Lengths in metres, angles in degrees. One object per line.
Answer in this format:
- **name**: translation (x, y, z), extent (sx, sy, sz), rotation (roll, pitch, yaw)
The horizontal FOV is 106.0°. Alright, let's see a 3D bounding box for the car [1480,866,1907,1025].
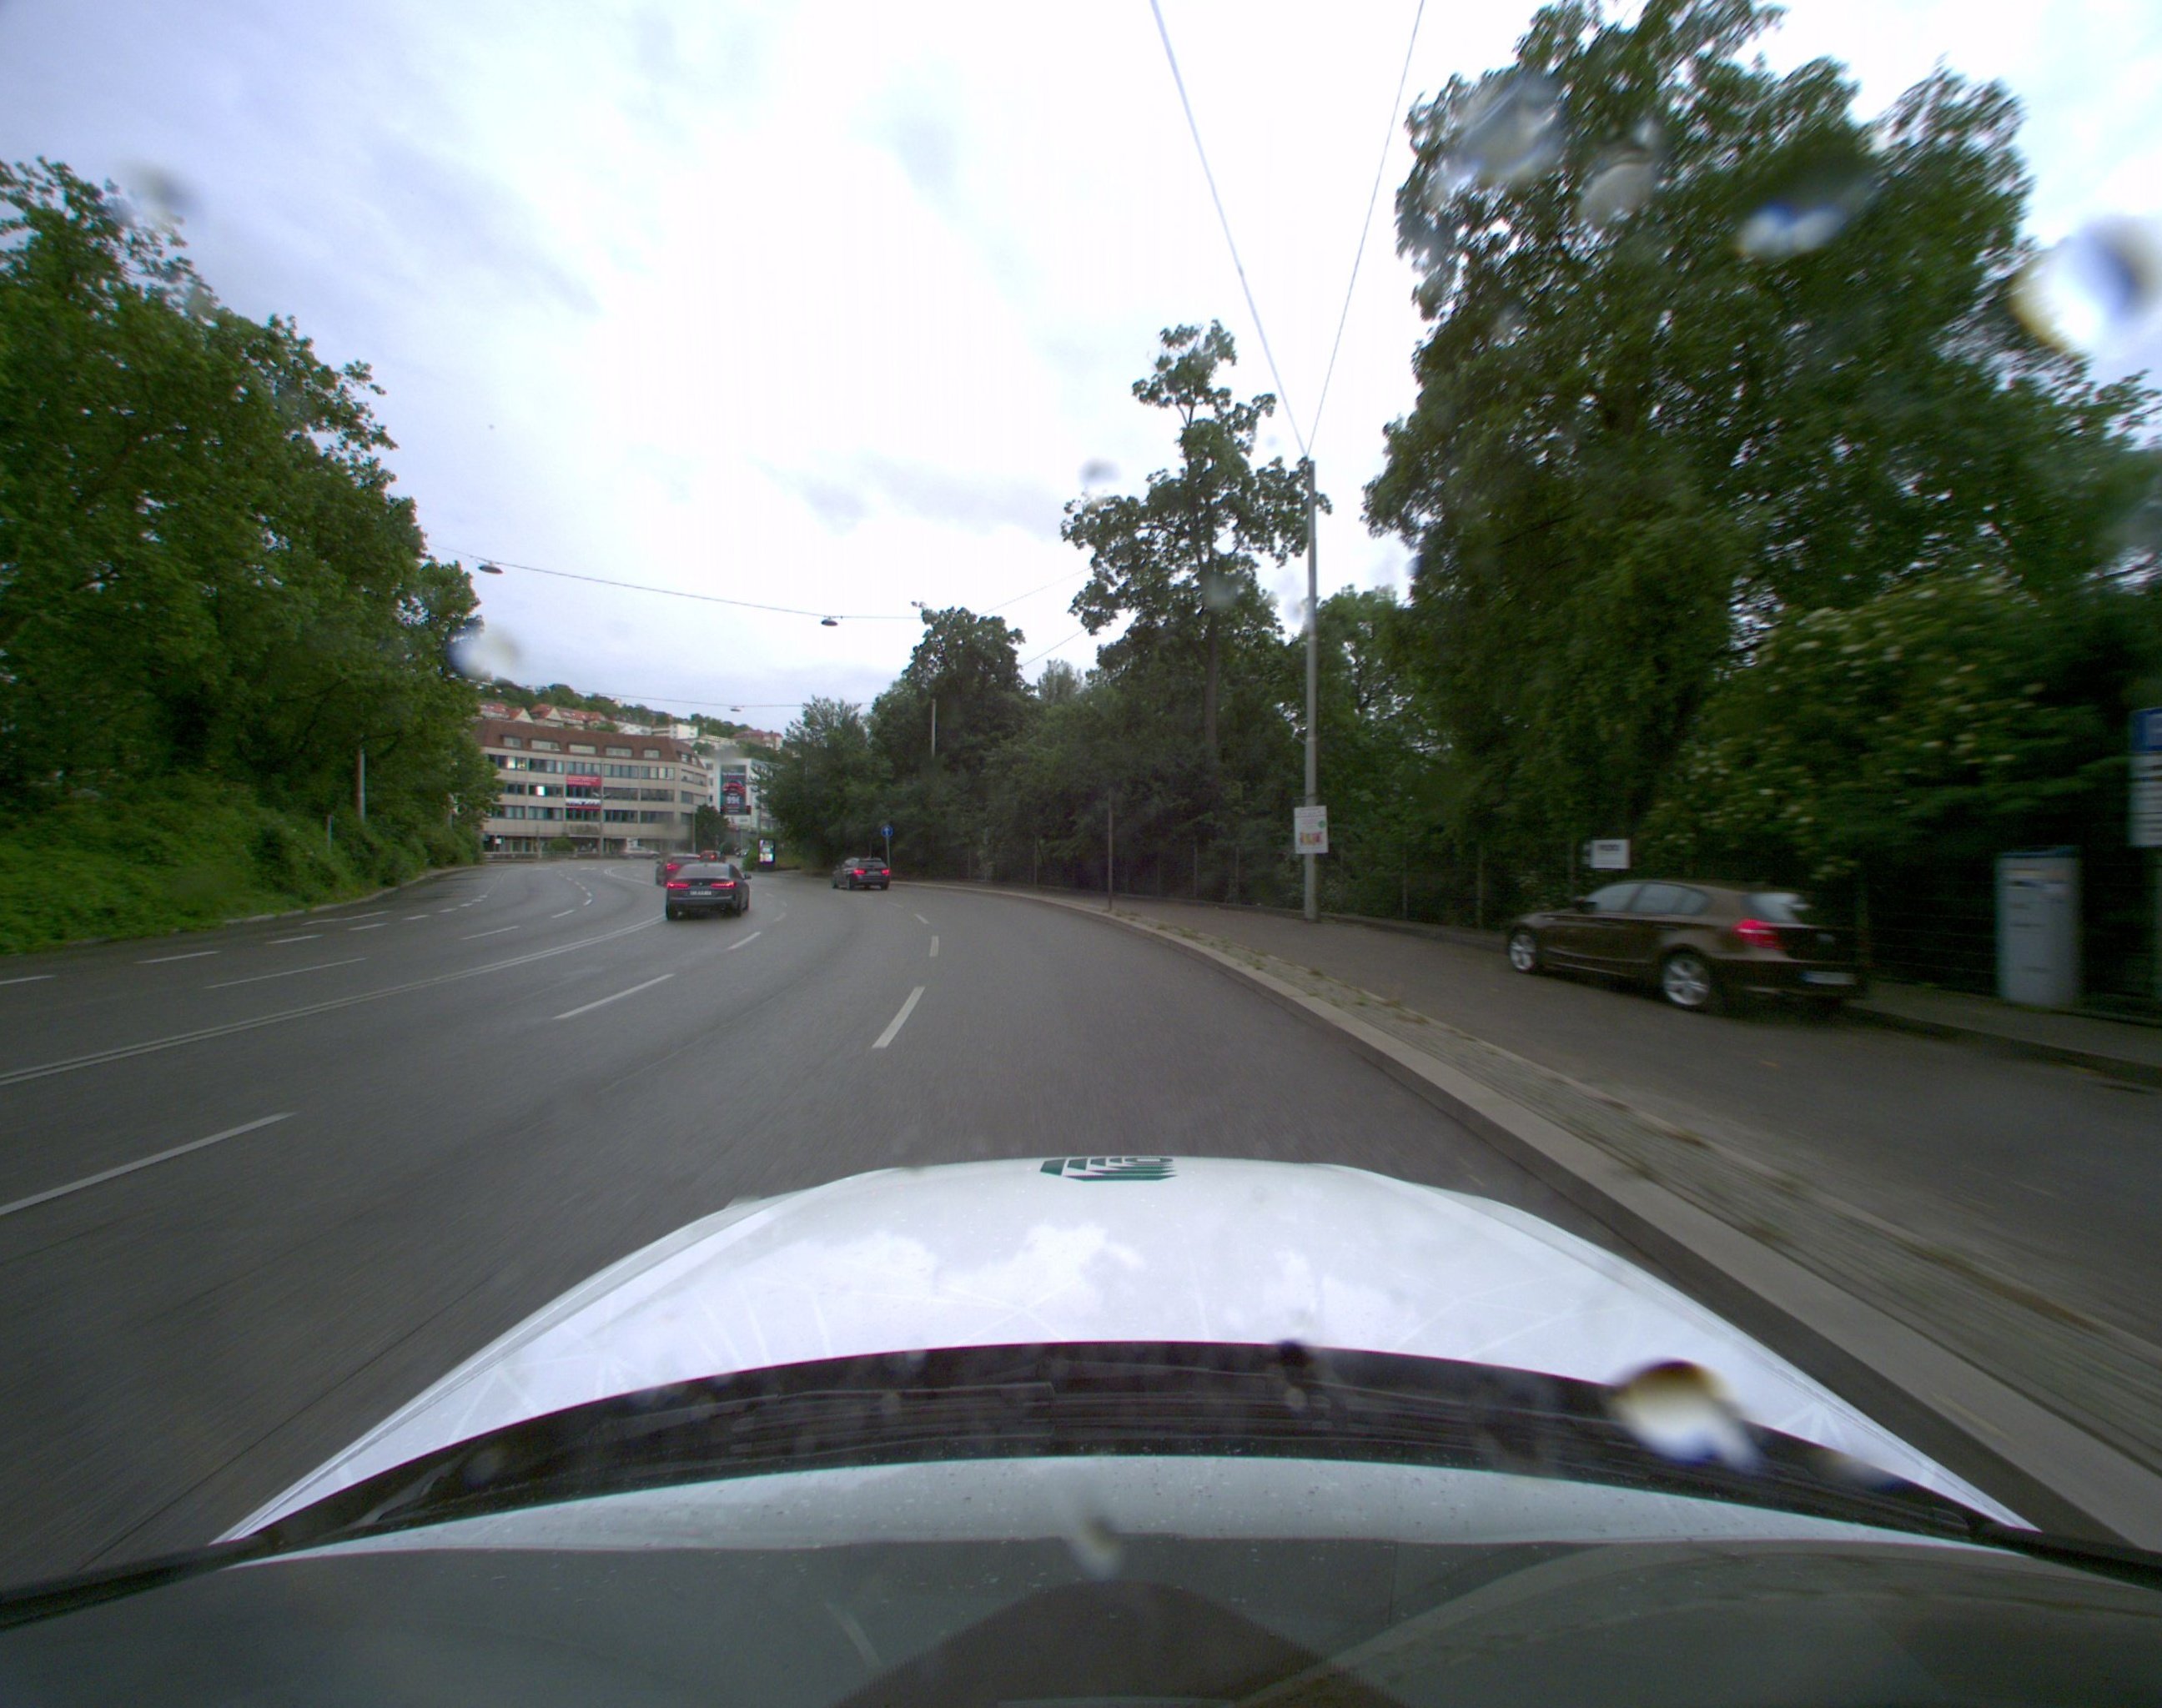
- **car**: translation (7.104, 0.940, 10.159), extent (1.685, 1.426, 4.361), rotation (3, 0, -7)

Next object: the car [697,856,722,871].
- **car**: translation (-40.071, 1.015, 87.822), extent (1.833, 1.651, 3.978), rotation (0, 0, -16)

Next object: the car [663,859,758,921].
- **car**: translation (-10.101, 0.908, 22.499), extent (1.668, 1.415, 4.516), rotation (0, 1, -15)

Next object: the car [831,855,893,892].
- **car**: translation (-10.149, 0.934, 37.547), extent (1.768, 1.433, 4.370), rotation (-1, -3, -29)

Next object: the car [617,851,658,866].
- **car**: translation (-53.488, 0.506, 98.296), extent (4.023, 1.728, 1.645), rotation (-1, 0, -44)

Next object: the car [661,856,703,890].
- **car**: translation (-20.297, 0.904, 41.366), extent (1.767, 1.586, 4.373), rotation (-1, 0, -27)
